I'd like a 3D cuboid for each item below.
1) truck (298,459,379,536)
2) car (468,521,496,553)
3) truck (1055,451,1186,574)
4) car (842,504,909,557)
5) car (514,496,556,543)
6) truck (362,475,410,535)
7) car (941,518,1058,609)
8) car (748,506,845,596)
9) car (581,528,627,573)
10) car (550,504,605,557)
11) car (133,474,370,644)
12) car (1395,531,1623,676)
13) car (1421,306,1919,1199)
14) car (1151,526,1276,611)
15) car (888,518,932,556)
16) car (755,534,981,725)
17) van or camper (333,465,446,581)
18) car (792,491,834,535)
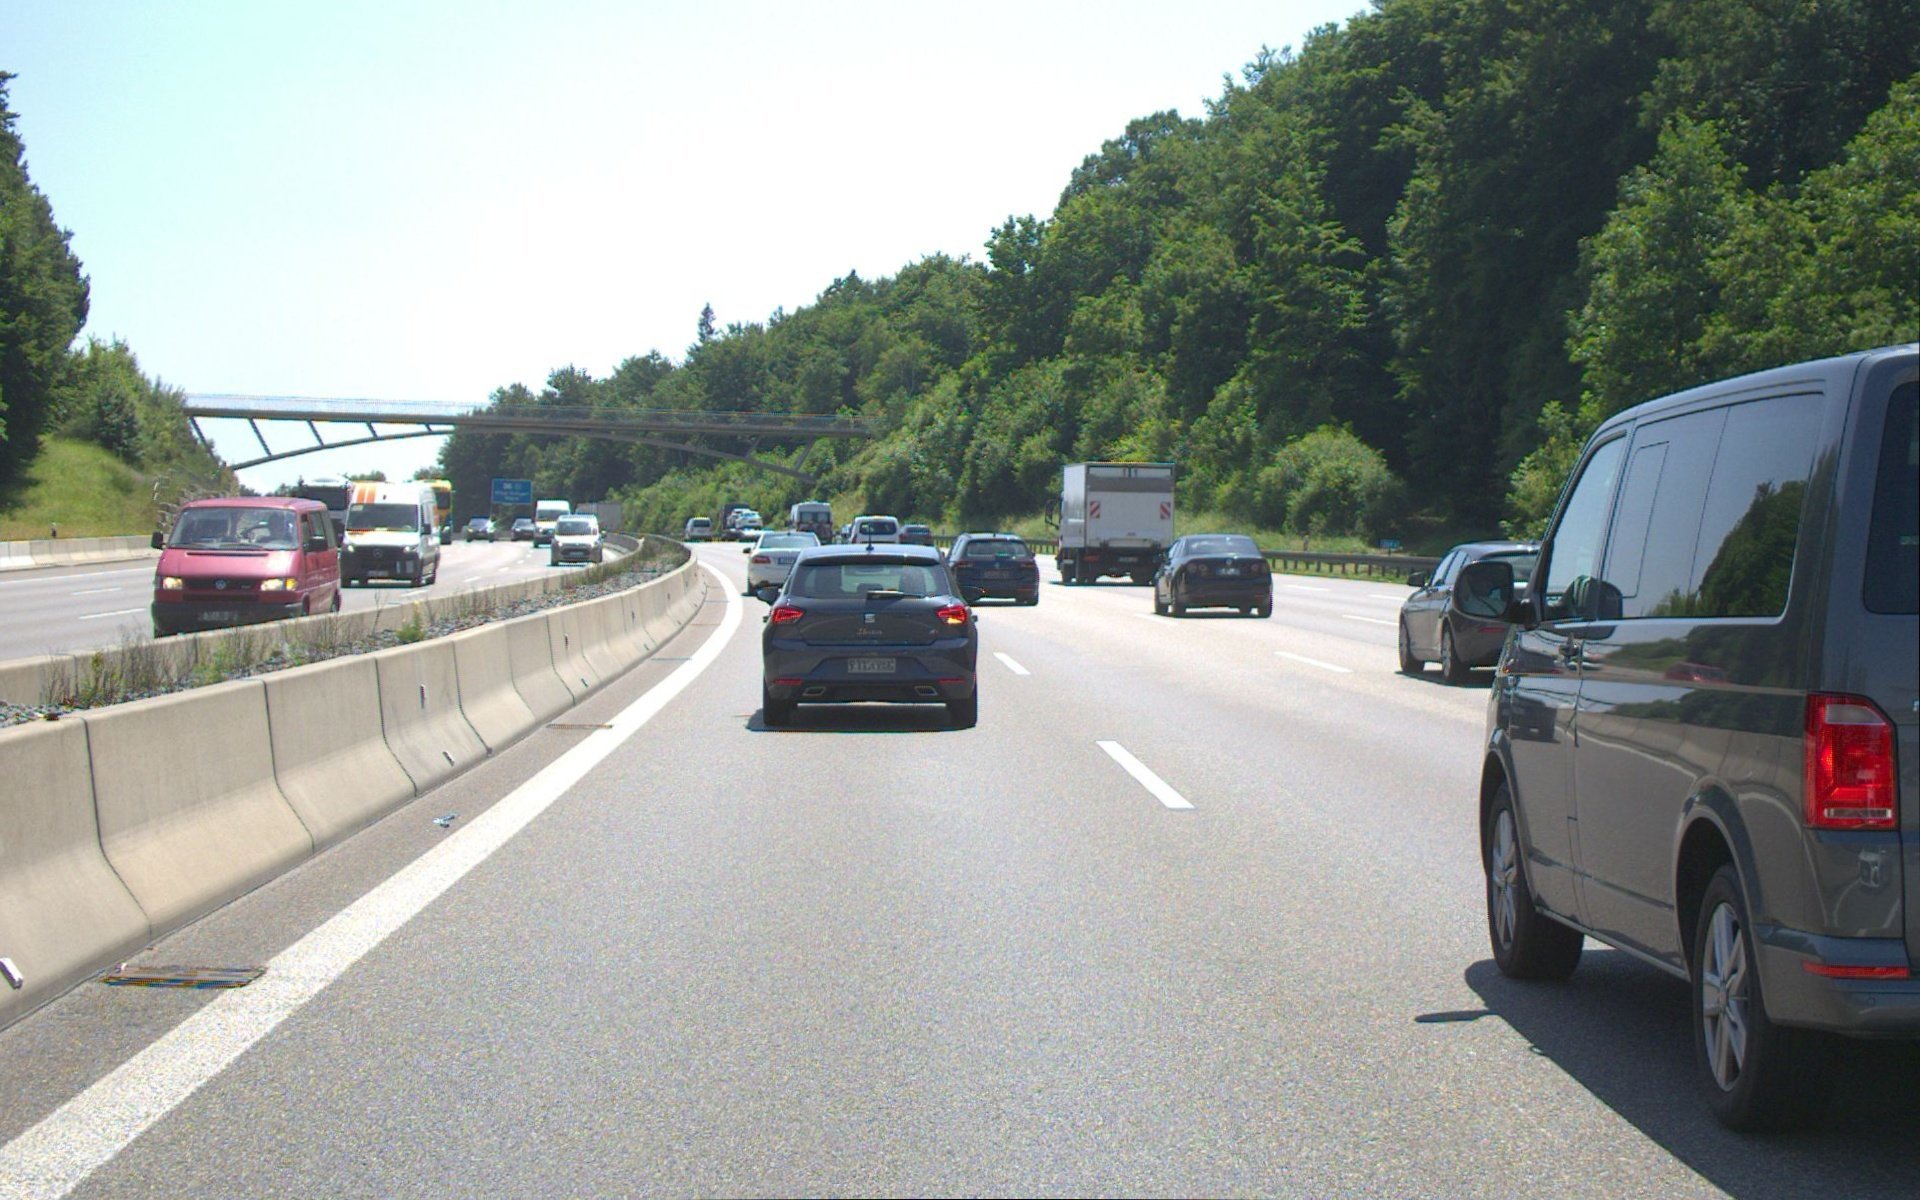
[{"bbox_3d":[-29.287,-4.772,162.449,2.609,3.454,9.883,2,1,-4],"label":"truck"},{"bbox_3d":[-32.936,-4.331,236.849,1.643,2.007,4.000,1,-1,-5],"label":"car"},{"bbox_3d":[4.254,-2.364,92.855,2.985,3.156,7.575,0,1,-1],"label":"truck"},{"bbox_3d":[-2.875,-2.350,116.253,2.103,1.738,4.688,0,1,-3],"label":"car"},{"bbox_3d":[-22.639,-4.278,183.270,2.154,2.481,4.703,0,1,-6],"label":"car"},{"bbox_3d":[-39.269,-6.505,235.204,2.750,4.003,6.753,0,1,-5],"label":"truck"},{"bbox_3d":[0.768,-0.699,69.149,1.993,1.722,4.149,0,-1,-4],"label":"car"},{"bbox_3d":[-3.712,-1.095,78.682,2.012,1.839,3.999,1,-2,0],"label":"car"},{"bbox_3d":[-17.239,-2.376,166.535,1.993,2.007,4.000,1,-1,-4],"label":"car"},{"bbox_3d":[-13.760,-2.529,123.912,1.818,1.865,4.590,0,1,-5],"label":"car"},{"bbox_3d":[-8.866,-0.529,43.380,2.236,2.007,4.230,1,1,-2],"label":"car"},{"bbox_3d":[5.596,-0.005,35.499,1.702,1.391,4.154,0,1,0],"label":"car"},{"bbox_3d":[2.763,0.332,10.107,1.962,2.026,5.084,1,1,-2],"label":"car"},{"bbox_3d":[4.455,-0.581,60.941,1.665,1.403,4.904,1,2,-2],"label":"car"},{"bbox_3d":[-2.650,-3.289,181.033,2.145,1.852,4.000,1,0,-3],"label":"car"},{"bbox_3d":[-0.750,0.185,28.295,1.708,1.428,4.000,1,1,-1],"label":"car"},{"bbox_3d":[-14.411,-1.950,87.197,1.993,2.790,7.416,1,1,-3],"label":"van or camper"},{"bbox_3d":[-8.095,-4.787,189.496,2.265,2.363,4.702,0,0,-3],"label":"car"}]
